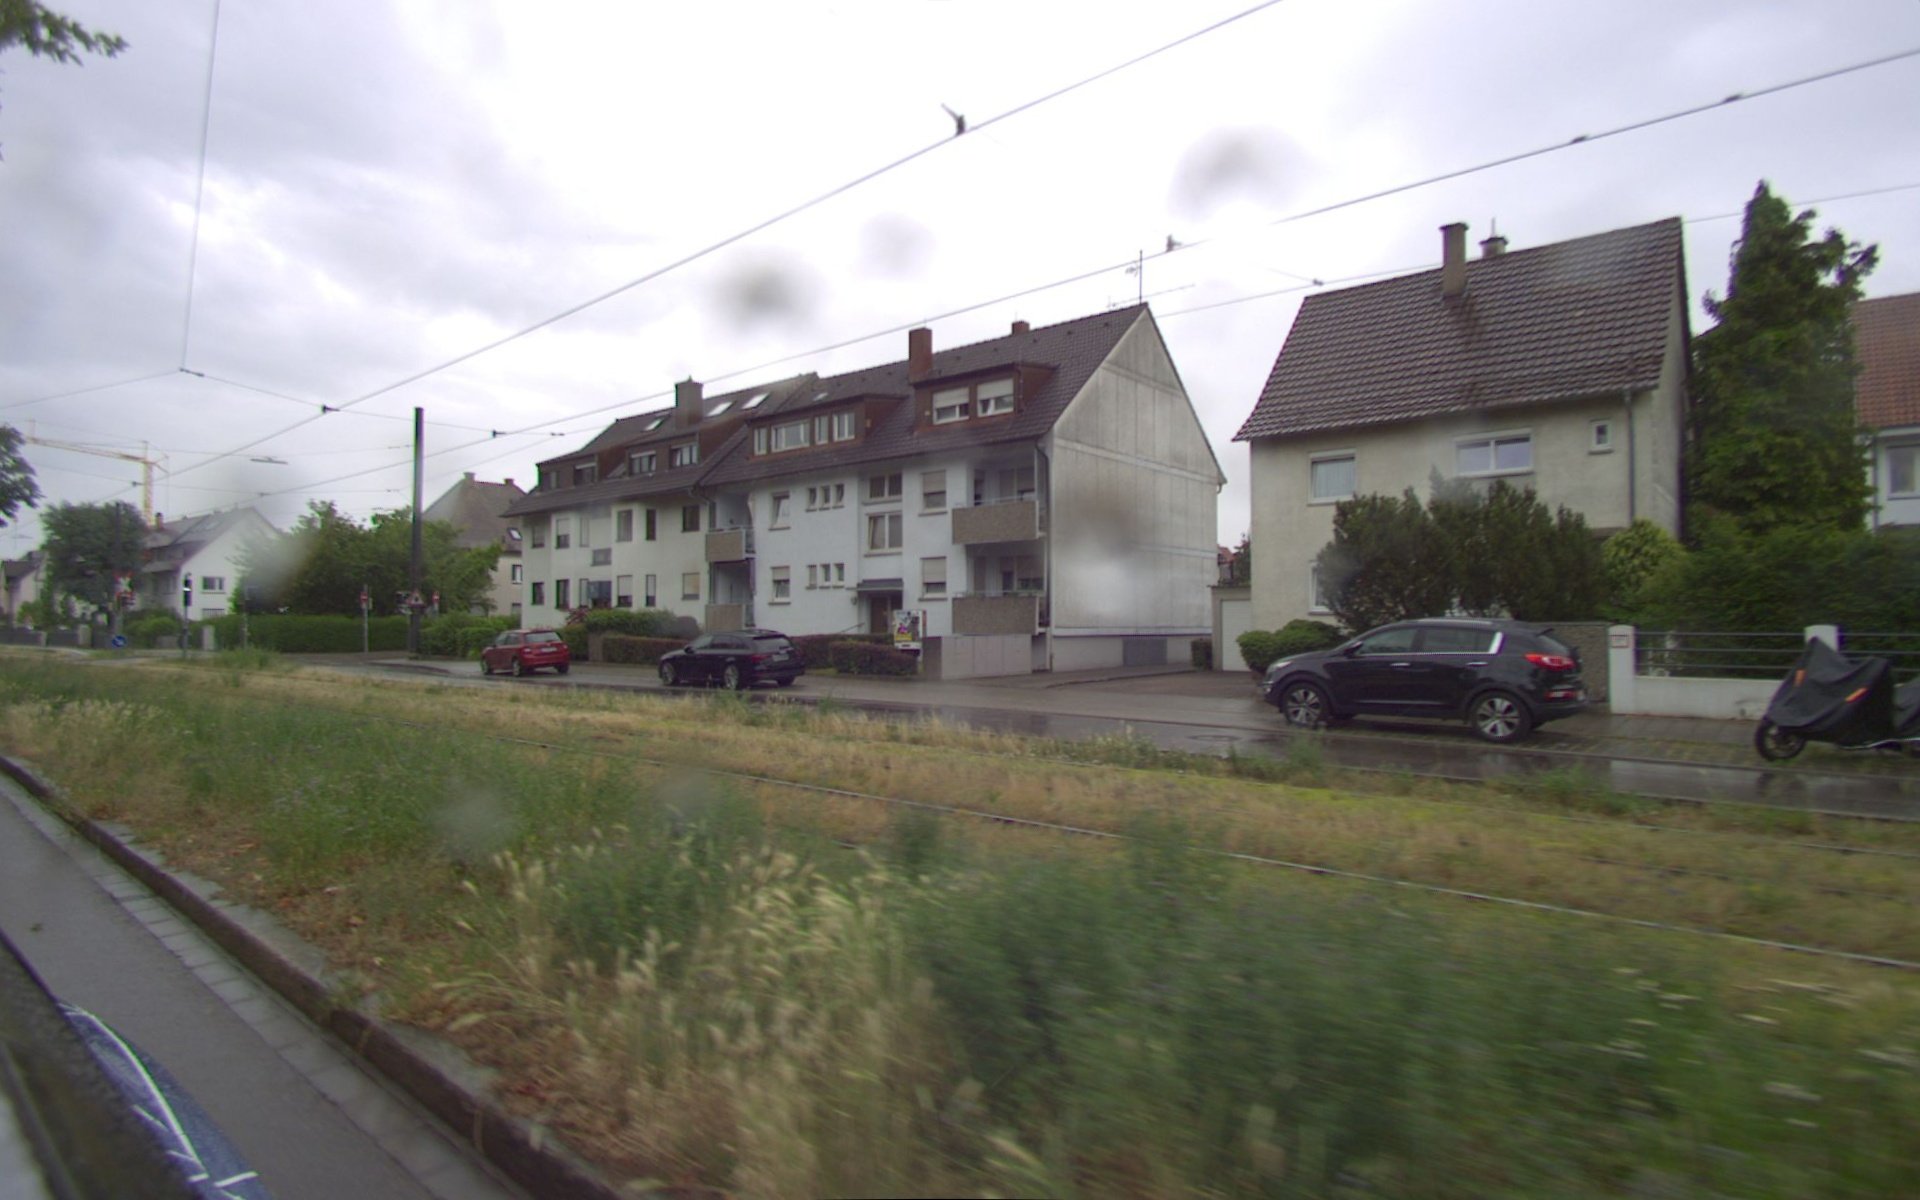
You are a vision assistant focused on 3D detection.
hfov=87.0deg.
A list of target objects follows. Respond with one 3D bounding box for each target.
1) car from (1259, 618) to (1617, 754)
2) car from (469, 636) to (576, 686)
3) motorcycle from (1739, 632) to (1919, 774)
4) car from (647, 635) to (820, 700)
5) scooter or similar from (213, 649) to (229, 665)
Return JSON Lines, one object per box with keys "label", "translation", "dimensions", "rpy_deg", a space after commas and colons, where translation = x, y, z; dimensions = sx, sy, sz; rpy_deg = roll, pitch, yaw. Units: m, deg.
{"label": "car", "translation": [6.893, 1.131, 14.834], "dimensions": [4.383, 1.687, 1.974], "rpy_deg": [-1, -2, 40]}
{"label": "car", "translation": [-14.429, 1.967, 33.276], "dimensions": [4.000, 1.468, 1.778], "rpy_deg": [-2, -1, 43]}
{"label": "motorcycle", "translation": [10.502, 1.095, 11.336], "dimensions": [2.646, 1.421, 1.269], "rpy_deg": [0, 0, -7]}
{"label": "car", "translation": [-5.882, 1.663, 25.894], "dimensions": [4.761, 1.421, 1.972], "rpy_deg": [-2, -1, 43]}
{"label": "scooter or similar", "translation": [-44.113, 3.382, 60.402], "dimensions": [1.256, 0.917, 0.343], "rpy_deg": [-2, -3, 36]}
